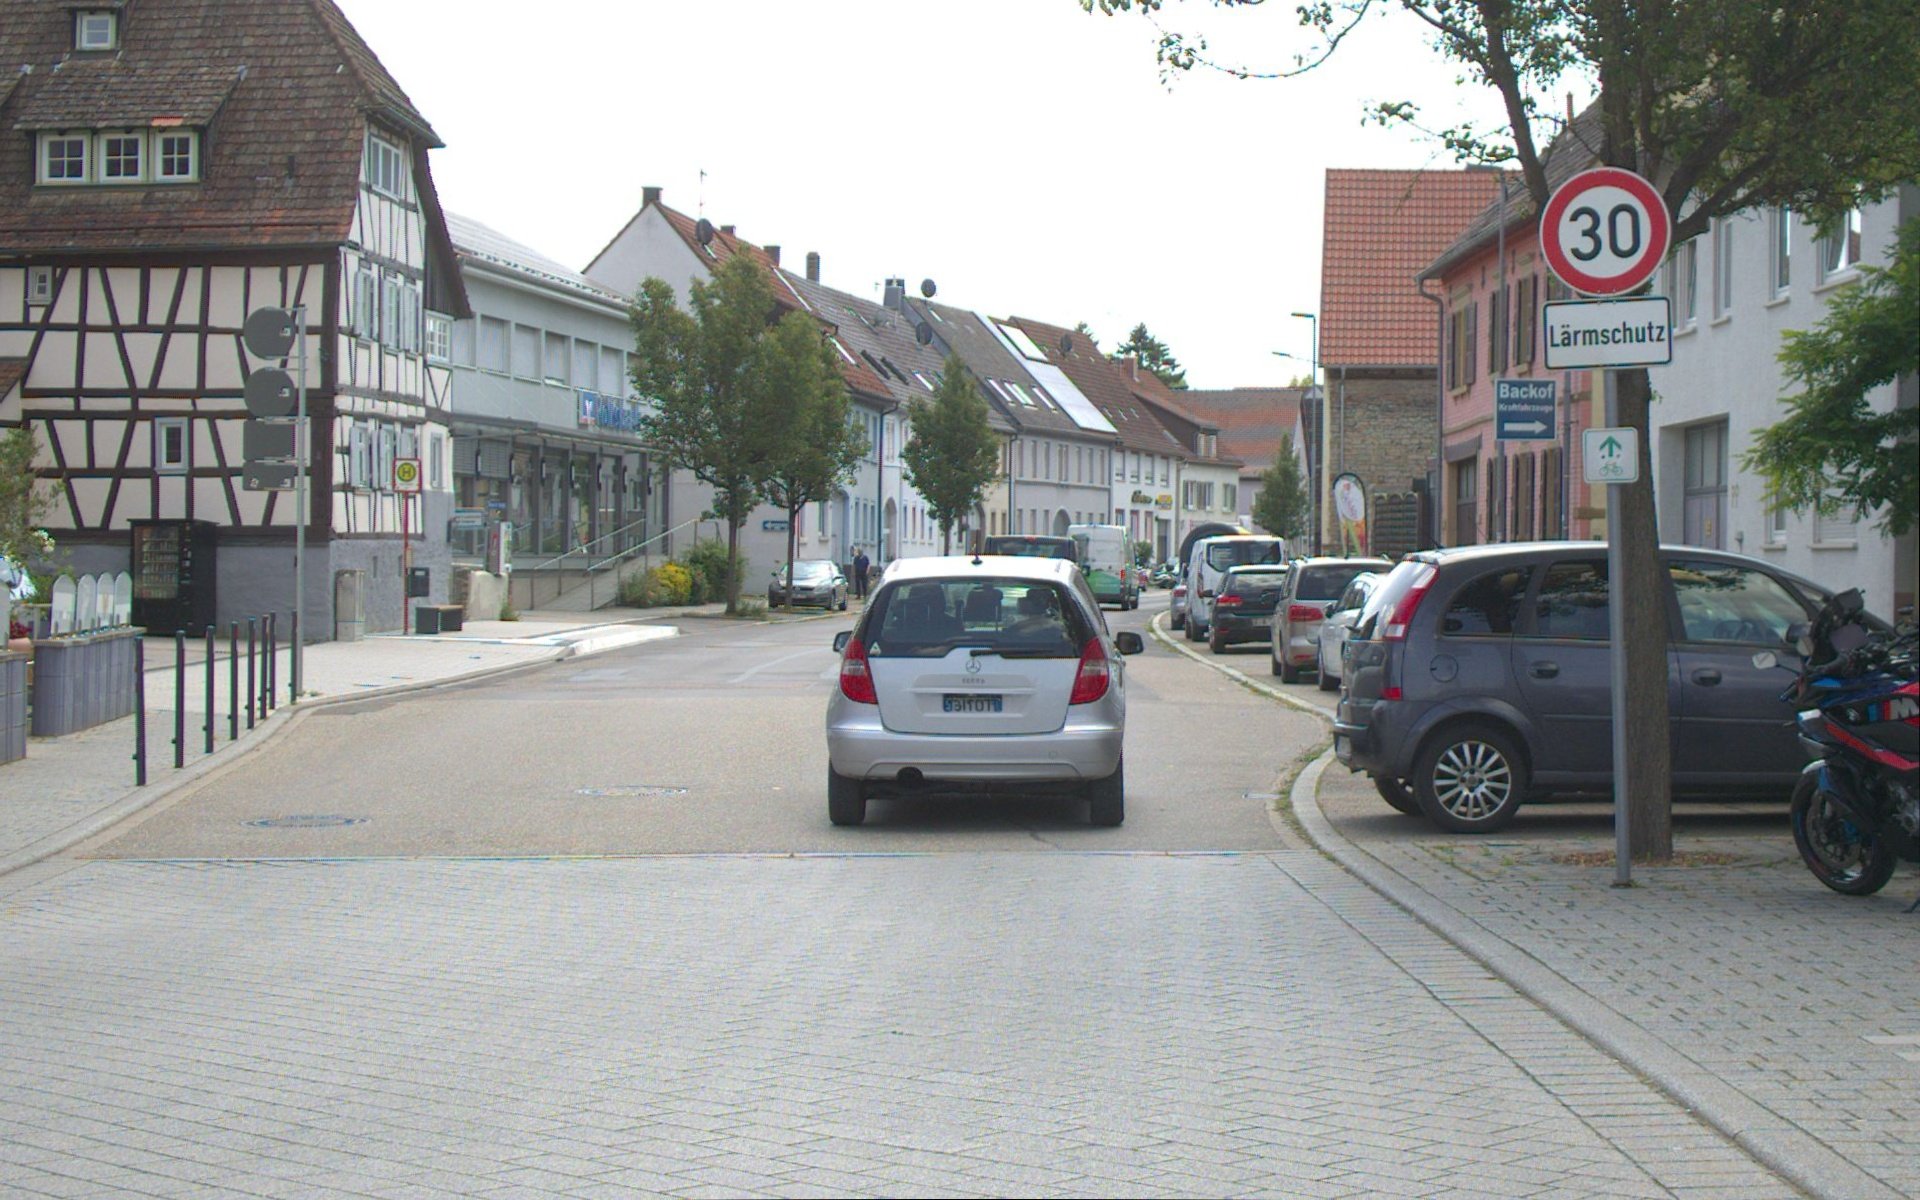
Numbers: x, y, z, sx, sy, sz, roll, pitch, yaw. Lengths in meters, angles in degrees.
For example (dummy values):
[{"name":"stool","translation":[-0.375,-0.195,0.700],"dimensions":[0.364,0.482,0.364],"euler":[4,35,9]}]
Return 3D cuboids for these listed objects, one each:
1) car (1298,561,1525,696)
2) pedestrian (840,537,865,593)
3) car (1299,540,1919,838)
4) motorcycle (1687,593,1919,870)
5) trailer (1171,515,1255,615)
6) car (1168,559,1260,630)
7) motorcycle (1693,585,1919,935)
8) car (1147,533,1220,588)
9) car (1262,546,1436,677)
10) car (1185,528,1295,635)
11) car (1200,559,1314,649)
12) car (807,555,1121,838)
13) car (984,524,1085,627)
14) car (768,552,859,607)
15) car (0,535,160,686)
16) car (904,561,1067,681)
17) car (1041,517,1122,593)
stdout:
[{"name":"car","translation":[5.310,0.295,40.990],"dimensions":[1.993,1.512,4.372],"euler":[0,1,-2]},{"name":"pedestrian","translation":[-3.469,-1.140,110.850],"dimensions":[0.739,1.795,0.642],"euler":[0,0,4]},{"name":"car","translation":[4.013,0.475,19.914],"dimensions":[3.848,1.572,1.851],"euler":[-1,1,-1]},{"name":"motorcycle","translation":[4.284,0.616,17.303],"dimensions":[0.628,1.294,2.183],"euler":[-1,0,-4]},{"name":"trailer","translation":[6.017,-0.847,82.111],"dimensions":[1.845,2.346,3.589],"euler":[0,1,2]},{"name":"car","translation":[5.651,-0.146,77.057],"dimensions":[1.875,1.476,4.674],"euler":[1,1,2]},{"name":"motorcycle","translation":[4.188,0.644,14.034],"dimensions":[0.870,1.390,2.224],"euler":[0,1,-45]},{"name":"car","translation":[6.551,-1.175,101.096],"dimensions":[1.993,1.554,4.000],"euler":[-1,1,2]},{"name":"car","translation":[5.156,0.118,46.047],"dimensions":[1.994,1.675,4.323],"euler":[0,1,2]},{"name":"car","translation":[5.446,-0.382,67.394],"dimensions":[1.892,1.975,4.930],"euler":[-2,1,2]},{"name":"car","translation":[5.103,0.048,59.452],"dimensions":[1.775,1.490,4.161],"euler":[0,1,2]},{"name":"car","translation":[0.063,0.533,21.534],"dimensions":[1.769,1.589,4.000],"euler":[-1,0,1]},{"name":"car","translation":[1.508,-0.484,68.073],"dimensions":[1.769,1.881,4.446],"euler":[3,0,3]},{"name":"car","translation":[-4.036,-0.591,95.300],"dimensions":[1.805,1.455,4.157],"euler":[1,1,8]},{"name":"car","translation":[-10.512,0.071,38.412],"dimensions":[1.758,1.487,4.275],"euler":[4,1,5]},{"name":"car","translation":[0.360,0.231,43.364],"dimensions":[1.945,1.402,4.000],"euler":[1,1,2]},{"name":"car","translation":[3.670,-1.337,103.285],"dimensions":[2.236,2.215,3.999],"euler":[0,0,5]}]
